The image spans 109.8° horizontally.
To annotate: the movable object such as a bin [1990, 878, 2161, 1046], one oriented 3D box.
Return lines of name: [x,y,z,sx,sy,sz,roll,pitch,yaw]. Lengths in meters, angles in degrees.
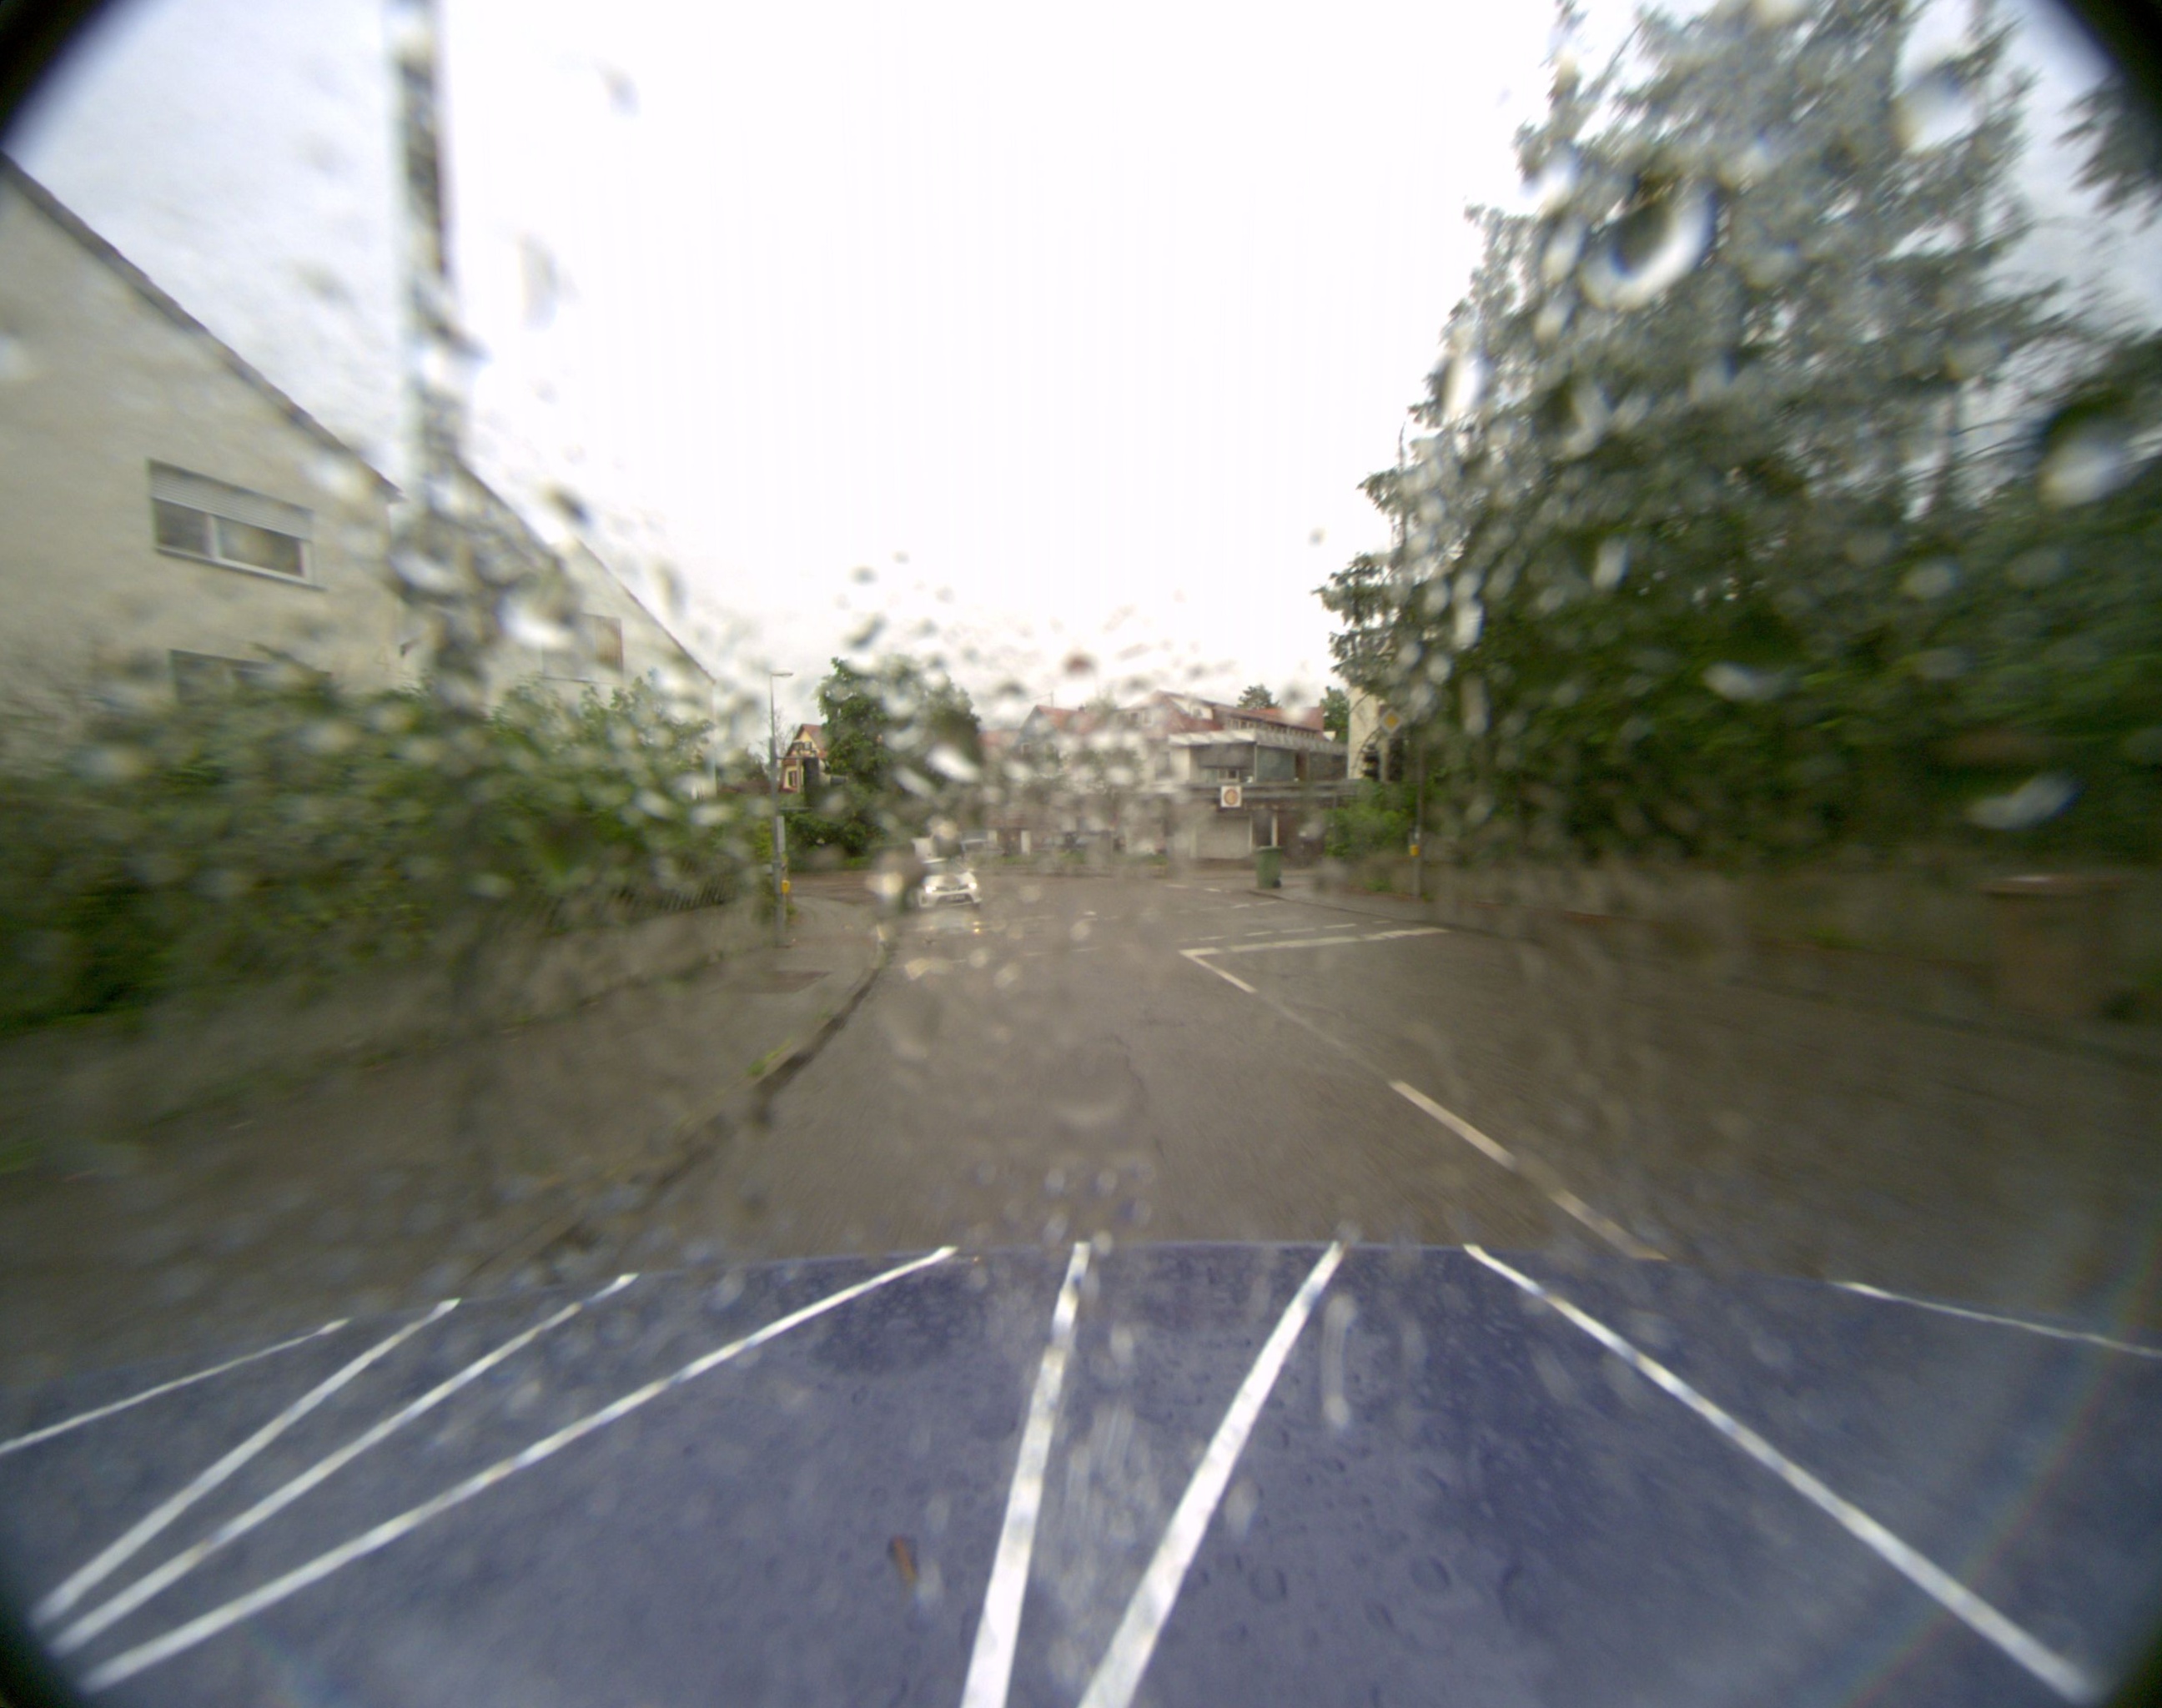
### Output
movable object such as a bin: [6.447,0.674,4.925,0.501,0.974,0.490,-4,2,-2]

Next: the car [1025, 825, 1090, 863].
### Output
car: [-1.270,-0.592,43.242,1.795,1.765,4.094,-2,4,28]

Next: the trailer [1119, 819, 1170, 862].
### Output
trailer: [3.443,-0.775,40.329,1.950,2.091,3.963,-2,2,15]

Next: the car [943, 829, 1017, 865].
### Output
car: [-6.156,-0.455,46.488,1.994,1.790,4.125,-1,4,39]

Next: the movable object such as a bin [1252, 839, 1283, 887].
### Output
movable object such as a bin: [4.754,0.217,19.403,0.625,1.133,0.668,-3,4,8]

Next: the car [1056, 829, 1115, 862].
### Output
car: [0.277,-0.467,41.429,1.835,1.477,3.349,-2,4,26]

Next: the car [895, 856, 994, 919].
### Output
car: [-4.035,0.877,21.927,1.862,1.427,4.009,-6,3,-23]
